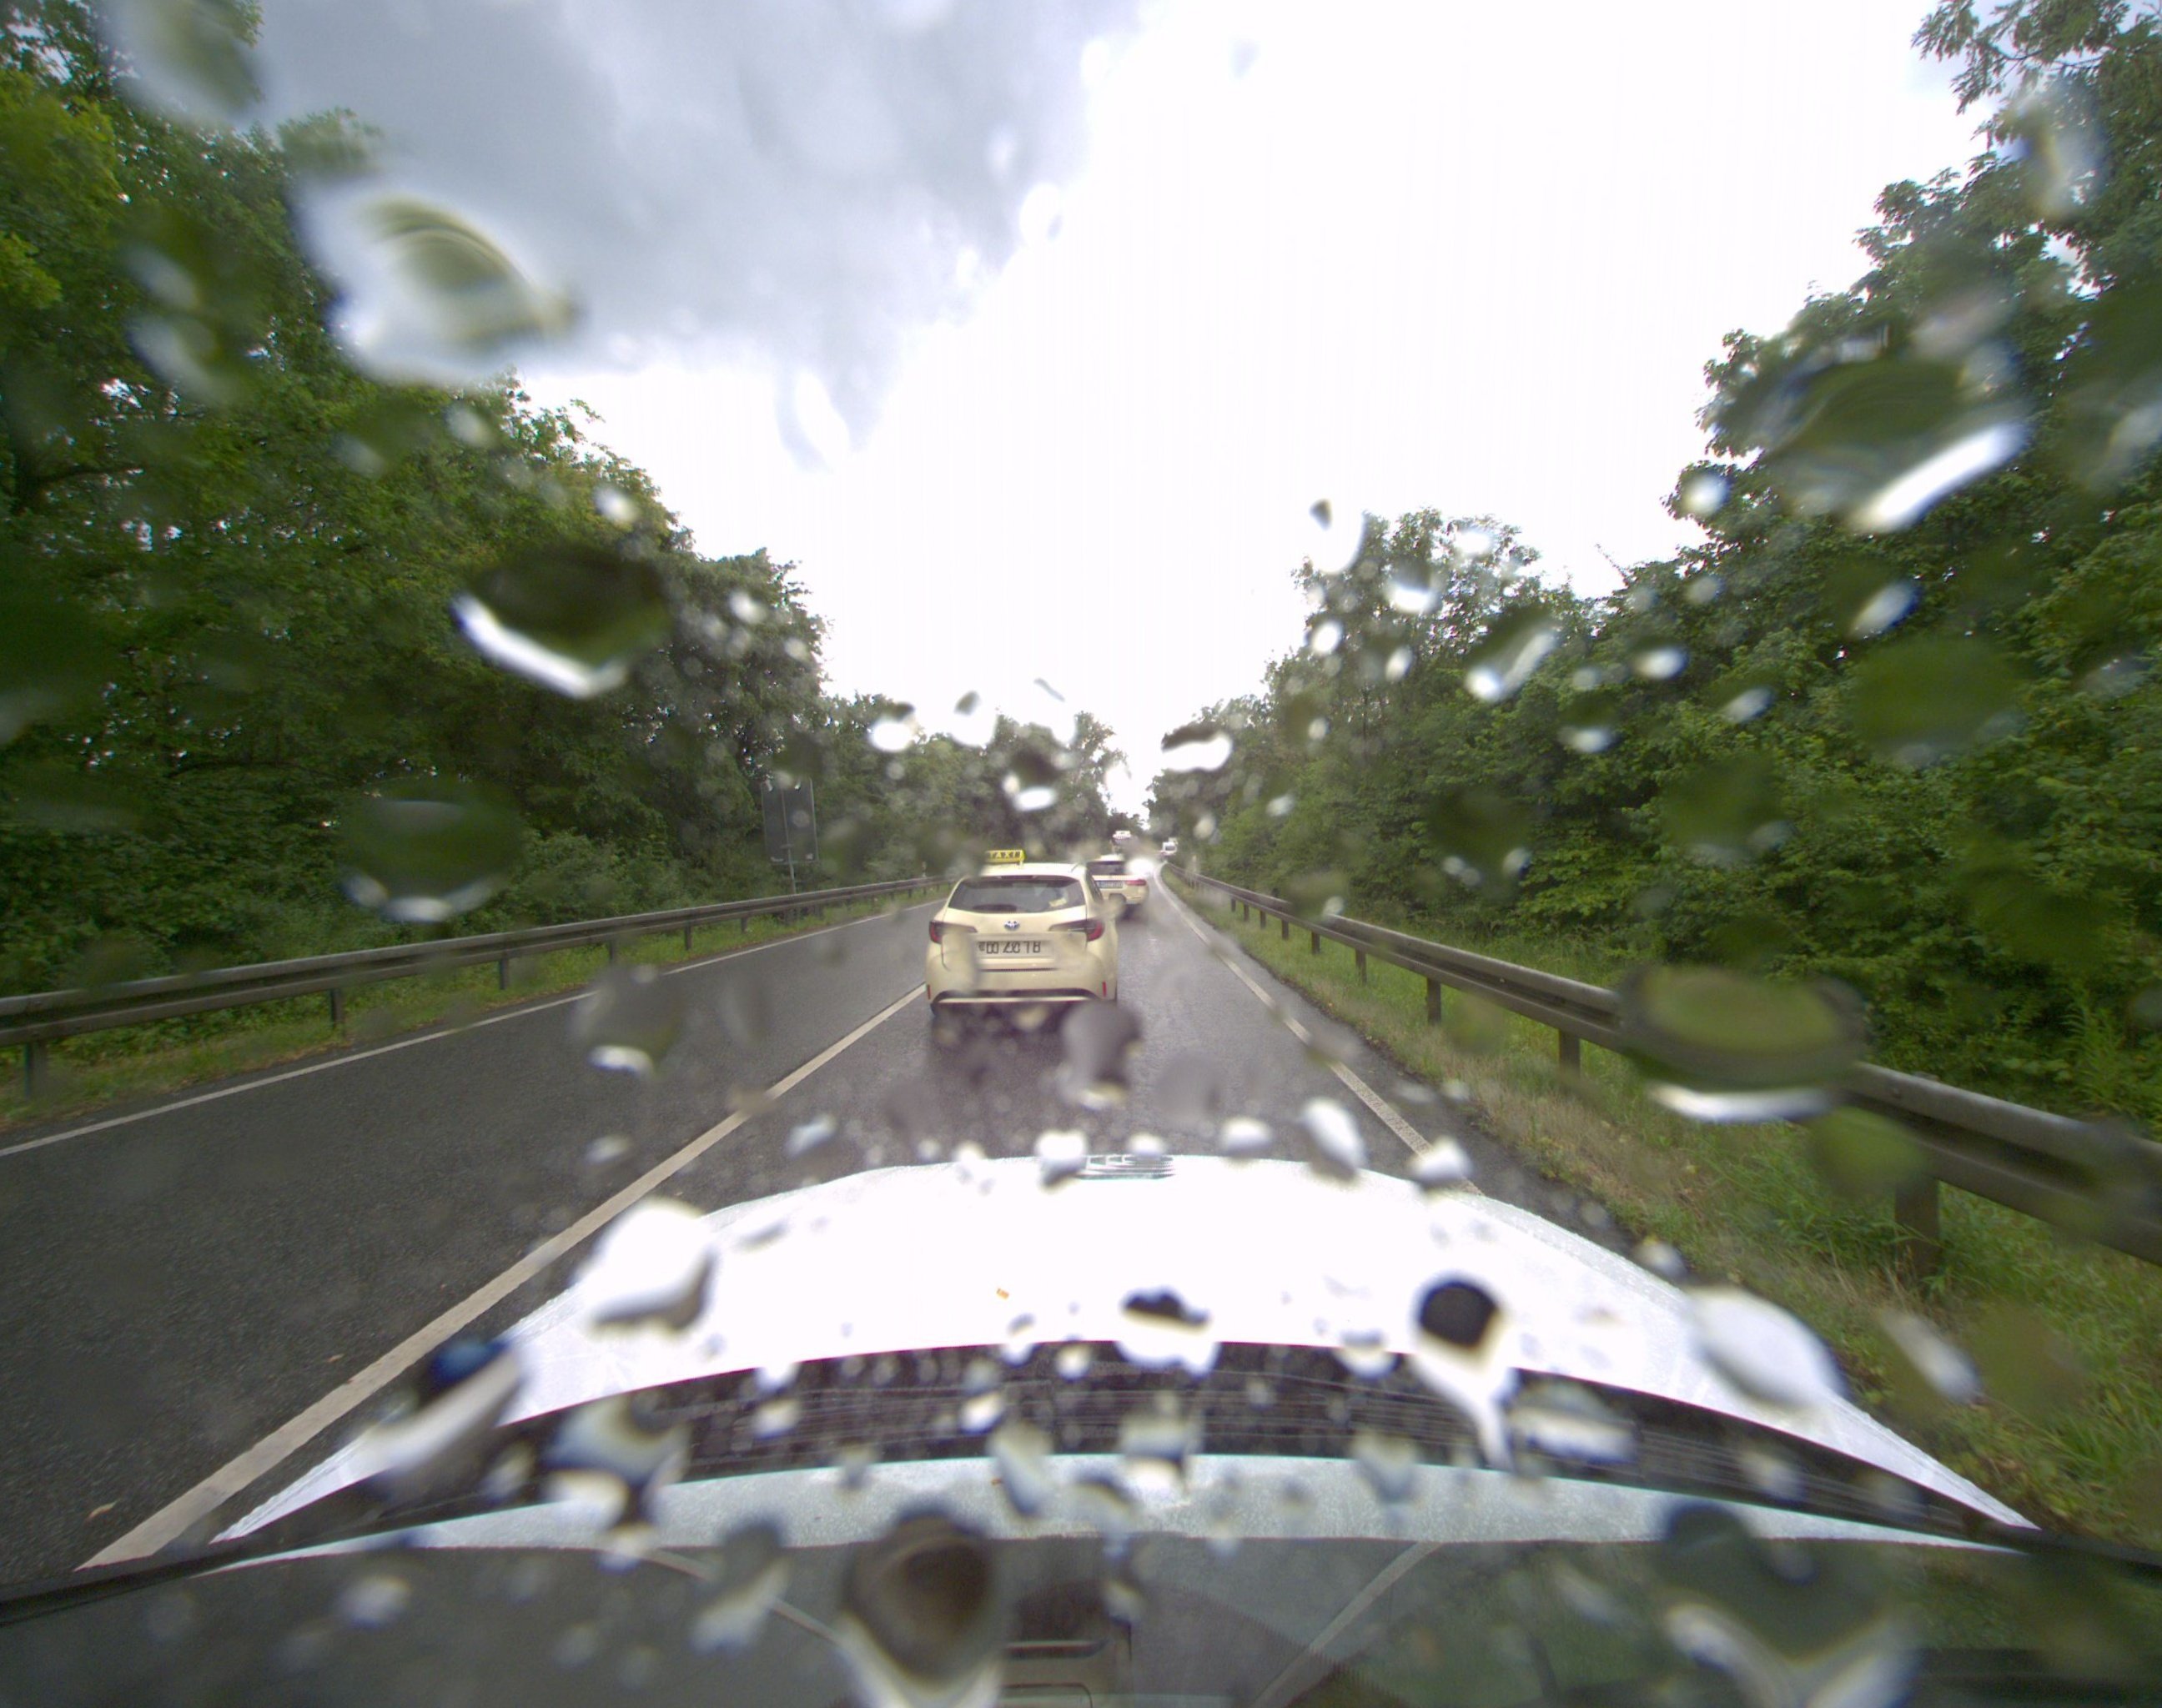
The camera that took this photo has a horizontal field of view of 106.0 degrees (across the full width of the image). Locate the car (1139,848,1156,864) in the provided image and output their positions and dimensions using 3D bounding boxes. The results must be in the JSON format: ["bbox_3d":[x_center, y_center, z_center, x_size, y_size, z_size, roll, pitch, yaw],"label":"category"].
[{"bbox_3d":[6.704,0.198,82.081,1.608,1.613,3.626,0,-1,5],"label":"car"}]

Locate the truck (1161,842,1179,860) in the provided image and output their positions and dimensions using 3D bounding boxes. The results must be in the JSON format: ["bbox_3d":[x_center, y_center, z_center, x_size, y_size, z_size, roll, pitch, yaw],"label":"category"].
[{"bbox_3d":[13.625,-0.458,125.041,2.537,2.713,7.546,0,-1,5],"label":"truck"}]

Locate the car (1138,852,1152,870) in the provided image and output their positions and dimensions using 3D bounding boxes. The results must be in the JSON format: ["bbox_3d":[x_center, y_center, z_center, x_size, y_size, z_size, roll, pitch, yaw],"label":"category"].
[{"bbox_3d":[5.448,0.583,68.851,1.161,1.547,2.607,0,-1,5],"label":"car"}]

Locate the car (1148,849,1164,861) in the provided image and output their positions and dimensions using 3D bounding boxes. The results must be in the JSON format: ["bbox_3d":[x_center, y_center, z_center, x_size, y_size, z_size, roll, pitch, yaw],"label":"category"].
[{"bbox_3d":[9.430,0.156,102.474,1.759,1.547,3.823,0,-1,8],"label":"car"}]

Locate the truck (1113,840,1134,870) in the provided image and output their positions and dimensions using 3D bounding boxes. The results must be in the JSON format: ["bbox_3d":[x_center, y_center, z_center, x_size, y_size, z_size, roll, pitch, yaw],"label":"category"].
[{"bbox_3d":[5.493,0.164,105.719,2.526,3.825,5.247,0,-1,2],"label":"truck"}]

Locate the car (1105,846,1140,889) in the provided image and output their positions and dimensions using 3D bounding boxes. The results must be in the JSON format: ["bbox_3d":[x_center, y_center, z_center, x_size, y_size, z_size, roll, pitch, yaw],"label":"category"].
[{"bbox_3d":[1.625,0.508,31.637,1.295,1.547,3.262,0,-1,3],"label":"car"}]

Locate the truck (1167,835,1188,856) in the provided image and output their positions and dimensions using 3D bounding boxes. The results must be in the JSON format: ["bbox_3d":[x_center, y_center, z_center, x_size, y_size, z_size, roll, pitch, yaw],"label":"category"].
[{"bbox_3d":[17.068,-1.433,143.621,3.087,3.680,7.020,-1,-1,10],"label":"truck"}]

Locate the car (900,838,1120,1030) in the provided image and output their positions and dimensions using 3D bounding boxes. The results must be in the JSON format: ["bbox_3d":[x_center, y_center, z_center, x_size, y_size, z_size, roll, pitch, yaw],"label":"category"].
[{"bbox_3d":[-0.527,0.679,8.840,1.827,1.580,4.158,0,-1,2],"label":"car"}]

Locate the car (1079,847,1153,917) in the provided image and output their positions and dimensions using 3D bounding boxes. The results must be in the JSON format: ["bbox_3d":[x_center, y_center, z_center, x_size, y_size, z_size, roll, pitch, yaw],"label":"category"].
[{"bbox_3d":[0.892,0.642,20.362,1.660,1.580,3.895,0,-1,3],"label":"car"}]

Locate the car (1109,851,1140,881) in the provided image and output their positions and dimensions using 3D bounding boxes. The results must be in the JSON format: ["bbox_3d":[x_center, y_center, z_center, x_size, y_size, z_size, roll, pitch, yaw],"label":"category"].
[{"bbox_3d":[2.368,0.607,44.313,1.605,1.547,3.817,-1,0,3],"label":"car"}]
